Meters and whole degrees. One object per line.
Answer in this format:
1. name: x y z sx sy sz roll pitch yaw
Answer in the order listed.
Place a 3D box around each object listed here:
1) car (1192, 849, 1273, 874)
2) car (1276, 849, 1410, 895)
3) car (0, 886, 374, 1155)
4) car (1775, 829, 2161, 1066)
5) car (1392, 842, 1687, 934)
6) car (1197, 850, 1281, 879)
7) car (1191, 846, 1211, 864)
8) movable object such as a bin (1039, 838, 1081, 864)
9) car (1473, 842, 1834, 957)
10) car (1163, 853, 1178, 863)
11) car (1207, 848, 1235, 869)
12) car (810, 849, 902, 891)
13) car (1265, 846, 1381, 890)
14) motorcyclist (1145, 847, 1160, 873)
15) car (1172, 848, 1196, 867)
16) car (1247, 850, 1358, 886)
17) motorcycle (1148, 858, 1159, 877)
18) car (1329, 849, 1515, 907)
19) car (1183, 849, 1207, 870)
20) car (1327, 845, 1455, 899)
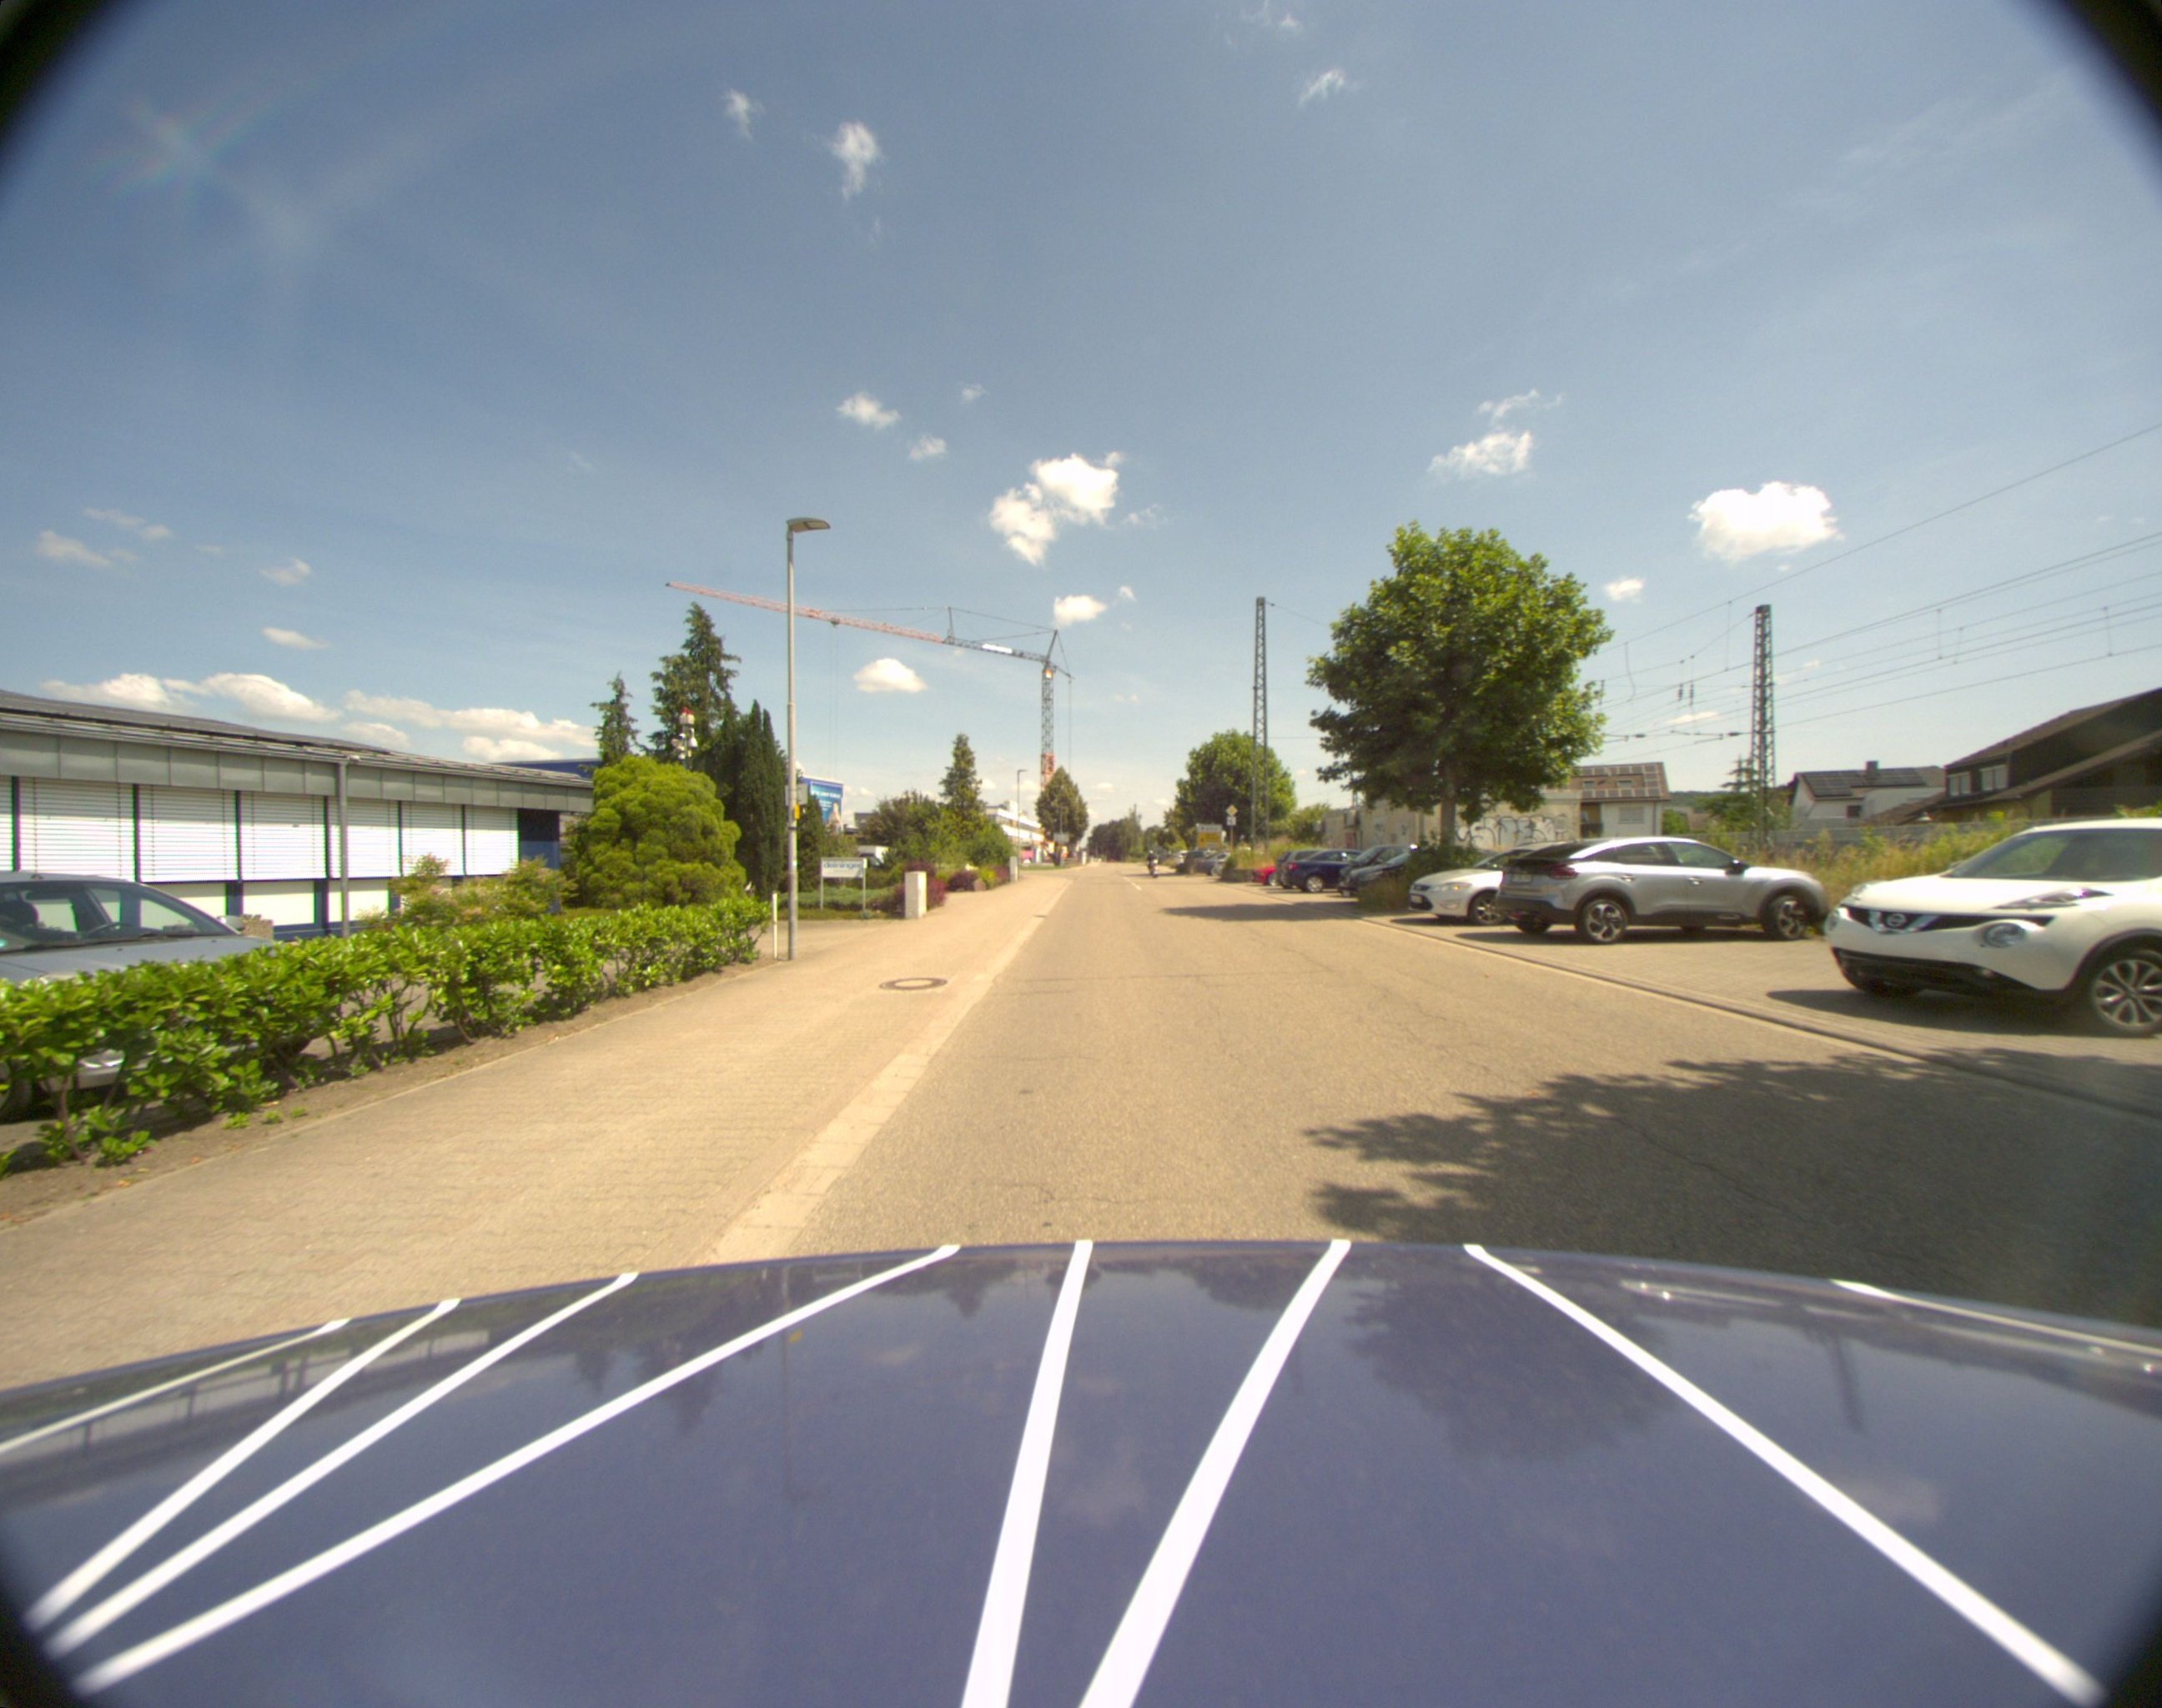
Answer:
1. car: 8.923 0.433 44.908 4.438 1.402 1.787 0 1 -1
2. car: 8.650 0.578 25.380 3.953 1.442 1.787 0 1 6
3. car: -7.331 0.968 5.251 3.359 1.393 1.770 0 0 5
4. car: 8.415 0.620 6.148 3.981 1.608 1.850 -1 0 -2
5. car: 8.403 0.600 14.245 4.348 1.524 1.926 -1 0 1
6. car: 8.336 0.529 40.365 4.083 1.394 1.786 -1 1 -1
7. car: 12.756 0.100 80.723 1.952 1.822 3.837 0 0 7
8. movable object such as a bin: -2.791 -0.417 100.419 5.132 3.277 2.390 0 6 -15
9. car: 8.482 0.626 11.570 3.997 1.539 2.000 -1 1 0
10. car: 11.654 0.523 98.969 1.607 1.342 4.001 0 0 3
11. car: 10.117 0.309 55.101 1.794 1.528 3.580 0 0 8
12. car: -10.922 0.709 37.298 1.899 1.788 4.797 1 2 19
13. car: 8.844 0.486 27.963 3.675 1.439 1.684 -2 0 0
14. motorcyclist: 4.239 0.352 44.892 0.777 1.500 0.921 -1 1 1
15. car: 8.776 0.267 65.198 1.807 1.555 4.263 0 0 4
16. car: 9.029 0.566 31.254 4.083 1.360 1.674 -1 -1 2
17. motorcycle: 4.258 0.772 44.856 0.464 1.045 1.955 -1 1 0
18. car: 8.846 0.594 19.982 4.083 1.464 1.787 0 1 2
19. car: 8.272 0.366 55.174 1.688 1.522 4.065 0 0 8
20. car: 9.222 0.522 22.778 3.196 1.529 1.602 0 1 0
